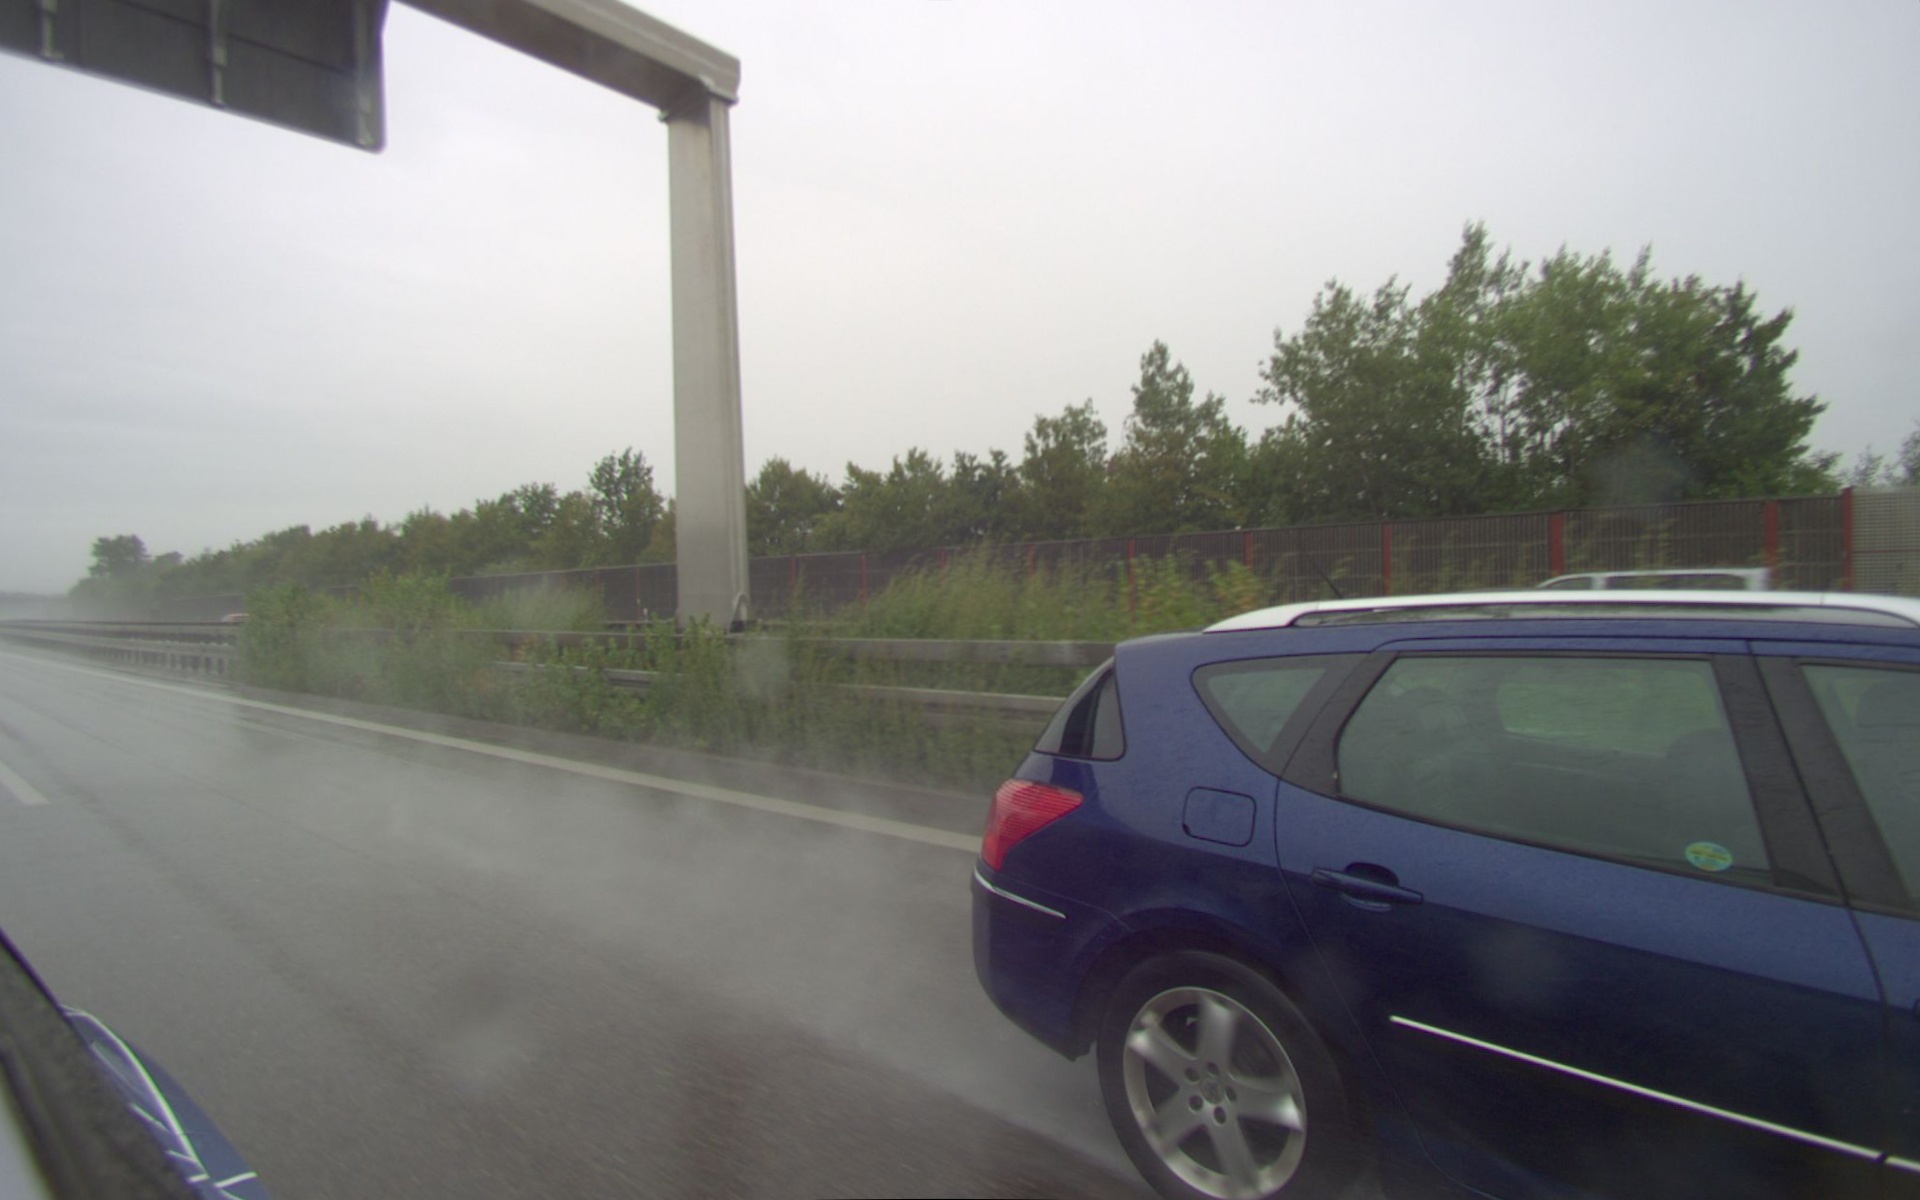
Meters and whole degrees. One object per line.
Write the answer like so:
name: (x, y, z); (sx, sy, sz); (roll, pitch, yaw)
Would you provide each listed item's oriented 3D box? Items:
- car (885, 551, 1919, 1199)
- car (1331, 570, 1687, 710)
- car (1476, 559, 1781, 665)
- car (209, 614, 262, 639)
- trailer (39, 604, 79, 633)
car: (2.412, 0.658, 1.834); (5.154, 1.496, 2.033); (-2, -1, 41)
car: (7.510, 0.496, 14.023); (3.998, 1.652, 1.973); (-1, -1, 41)
car: (11.709, 0.217, 17.868); (4.262, 1.652, 1.973); (-1, -1, 41)
car: (-42.493, 1.532, 59.314); (3.739, 1.393, 1.729); (-1, 0, 41)
trailer: (-152.872, 3.148, 171.671); (12.241, 4.731, 3.828); (-2, -1, 43)
